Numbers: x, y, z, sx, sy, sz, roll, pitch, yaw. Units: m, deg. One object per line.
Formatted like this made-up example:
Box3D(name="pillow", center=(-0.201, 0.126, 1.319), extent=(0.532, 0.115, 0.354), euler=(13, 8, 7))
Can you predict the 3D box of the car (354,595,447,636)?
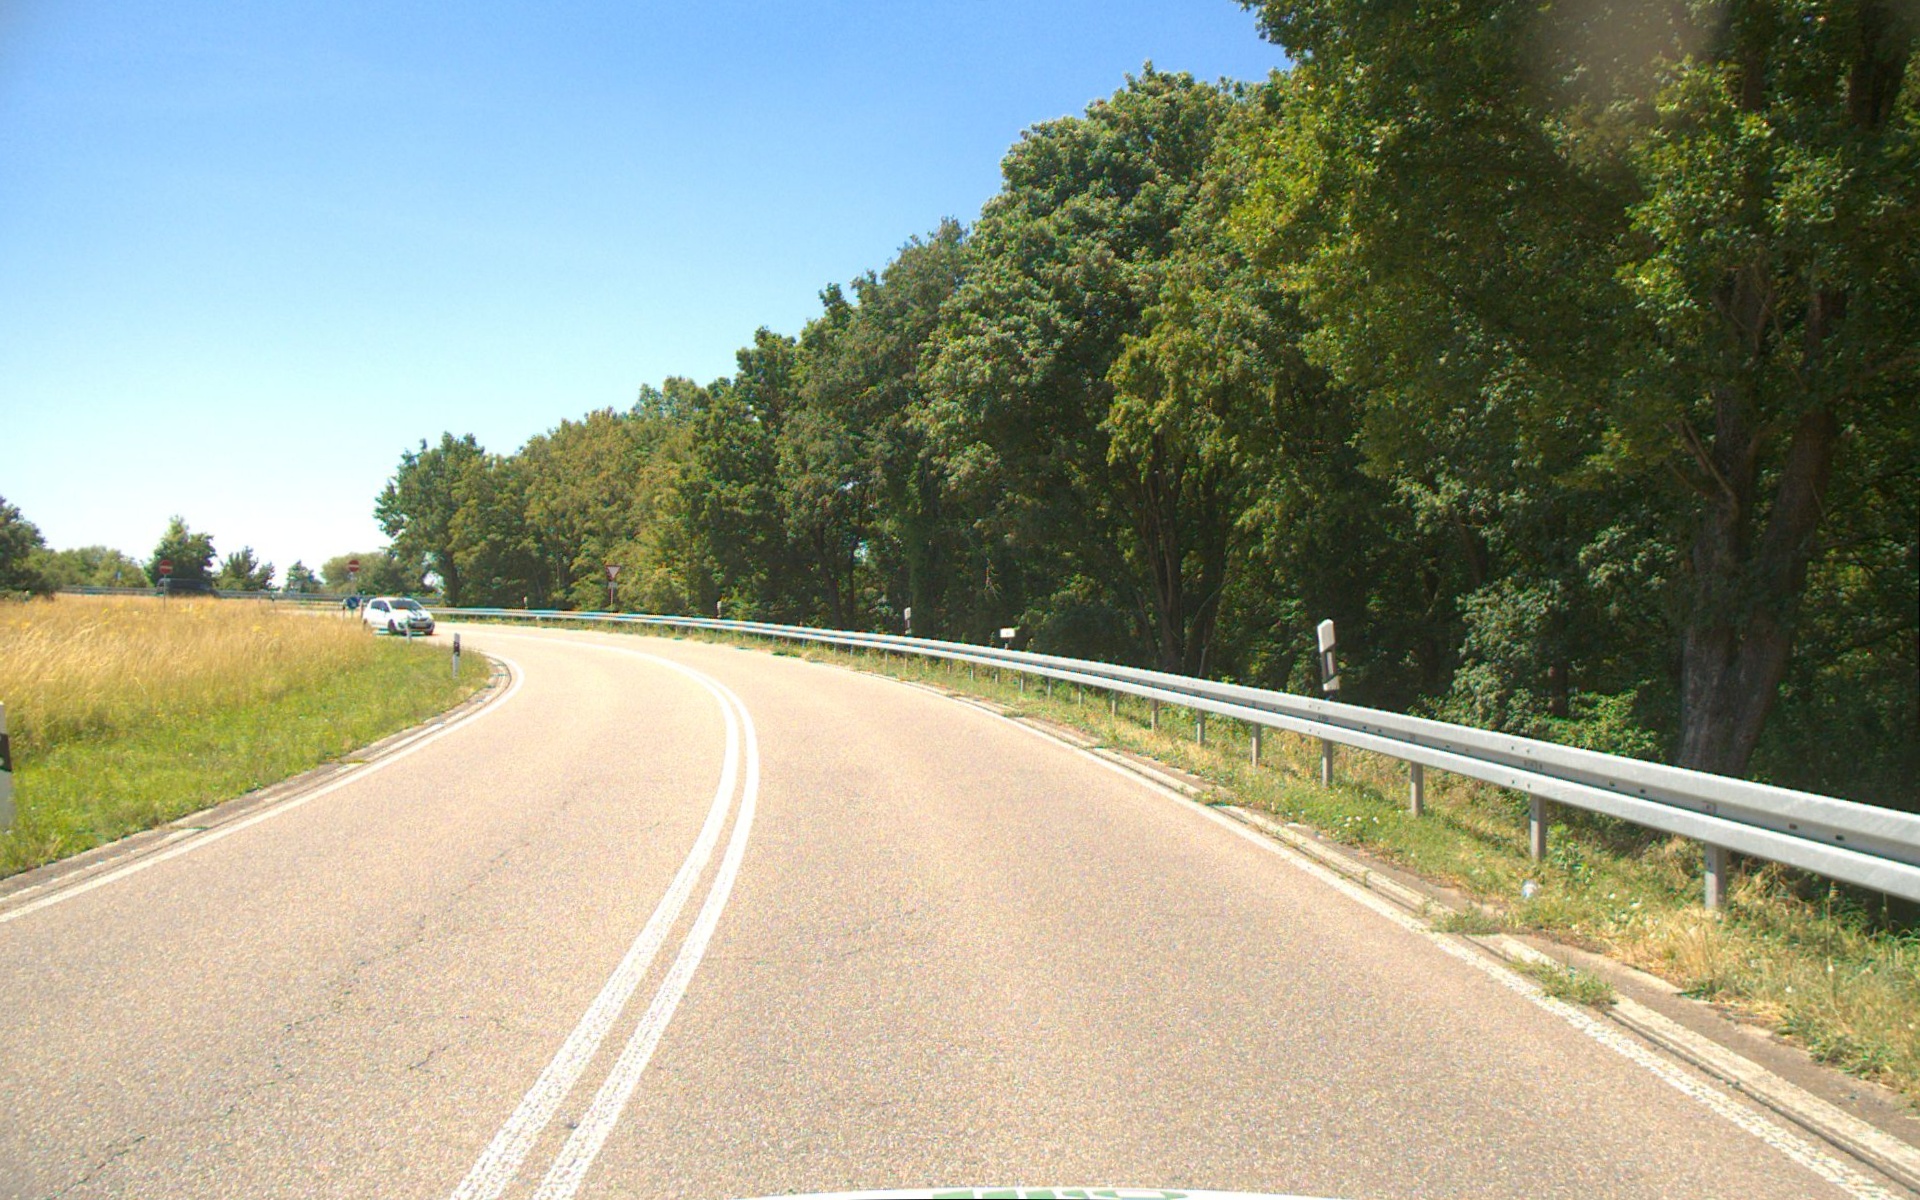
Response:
Box3D(name="car", center=(-22.525, 0.610, 66.490), extent=(4.099, 1.533, 1.817), euler=(1, 0, 43))
